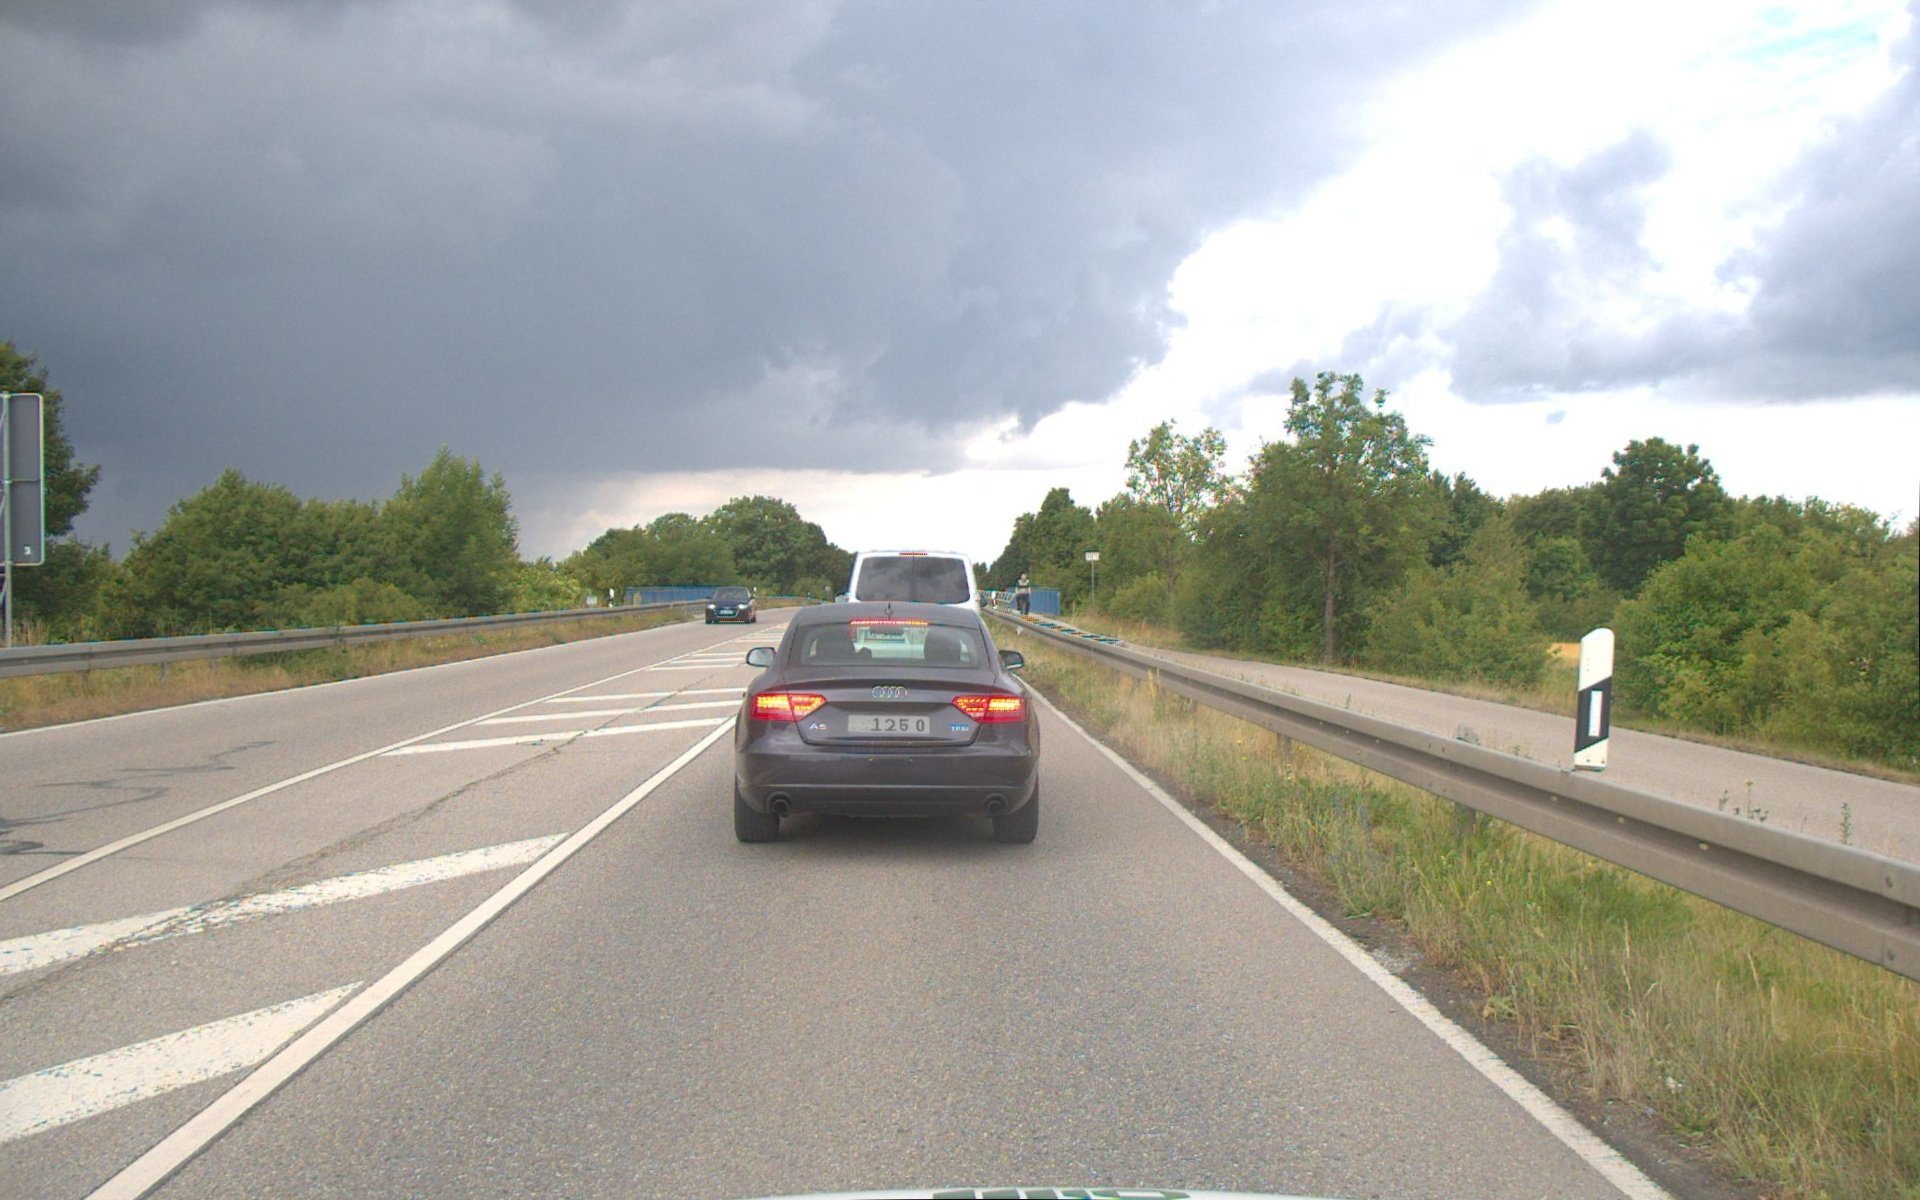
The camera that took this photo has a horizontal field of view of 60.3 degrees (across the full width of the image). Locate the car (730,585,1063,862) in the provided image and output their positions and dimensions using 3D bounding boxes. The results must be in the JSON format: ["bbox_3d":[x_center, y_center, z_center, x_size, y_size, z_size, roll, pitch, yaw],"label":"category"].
[{"bbox_3d":[-0.400,0.665,10.799,1.750,1.448,3.998,1,0,-2],"label":"car"}]

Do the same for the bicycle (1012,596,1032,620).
[{"bbox_3d":[2.481,0.320,66.175,0.652,0.936,1.829,0,0,-2],"label":"bicycle"}]

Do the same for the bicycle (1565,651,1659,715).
[{"bbox_3d":[12.994,1.630,33.065,0.643,1.158,2.829,1,-1,-2],"label":"bicycle"}]

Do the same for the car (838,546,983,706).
[{"bbox_3d":[-0.672,0.325,22.250,1.750,1.923,3.998,1,0,-2],"label":"car"}]

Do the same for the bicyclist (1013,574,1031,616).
[{"bbox_3d":[2.480,-0.192,66.180,0.634,1.674,0.866,0,0,-2],"label":"bicyclist"}]

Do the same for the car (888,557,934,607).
[{"bbox_3d":[-2.640,-0.966,89.239,2.398,2.548,5.040,1,1,-1],"label":"car"}]

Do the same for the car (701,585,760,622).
[{"bbox_3d":[-8.929,0.130,64.559,1.825,1.400,3.999,0,0,-2],"label":"car"}]

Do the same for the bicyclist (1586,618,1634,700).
[{"bbox_3d":[12.998,1.174,33.099,0.643,1.608,0.743,1,-1,-3],"label":"bicyclist"}]
